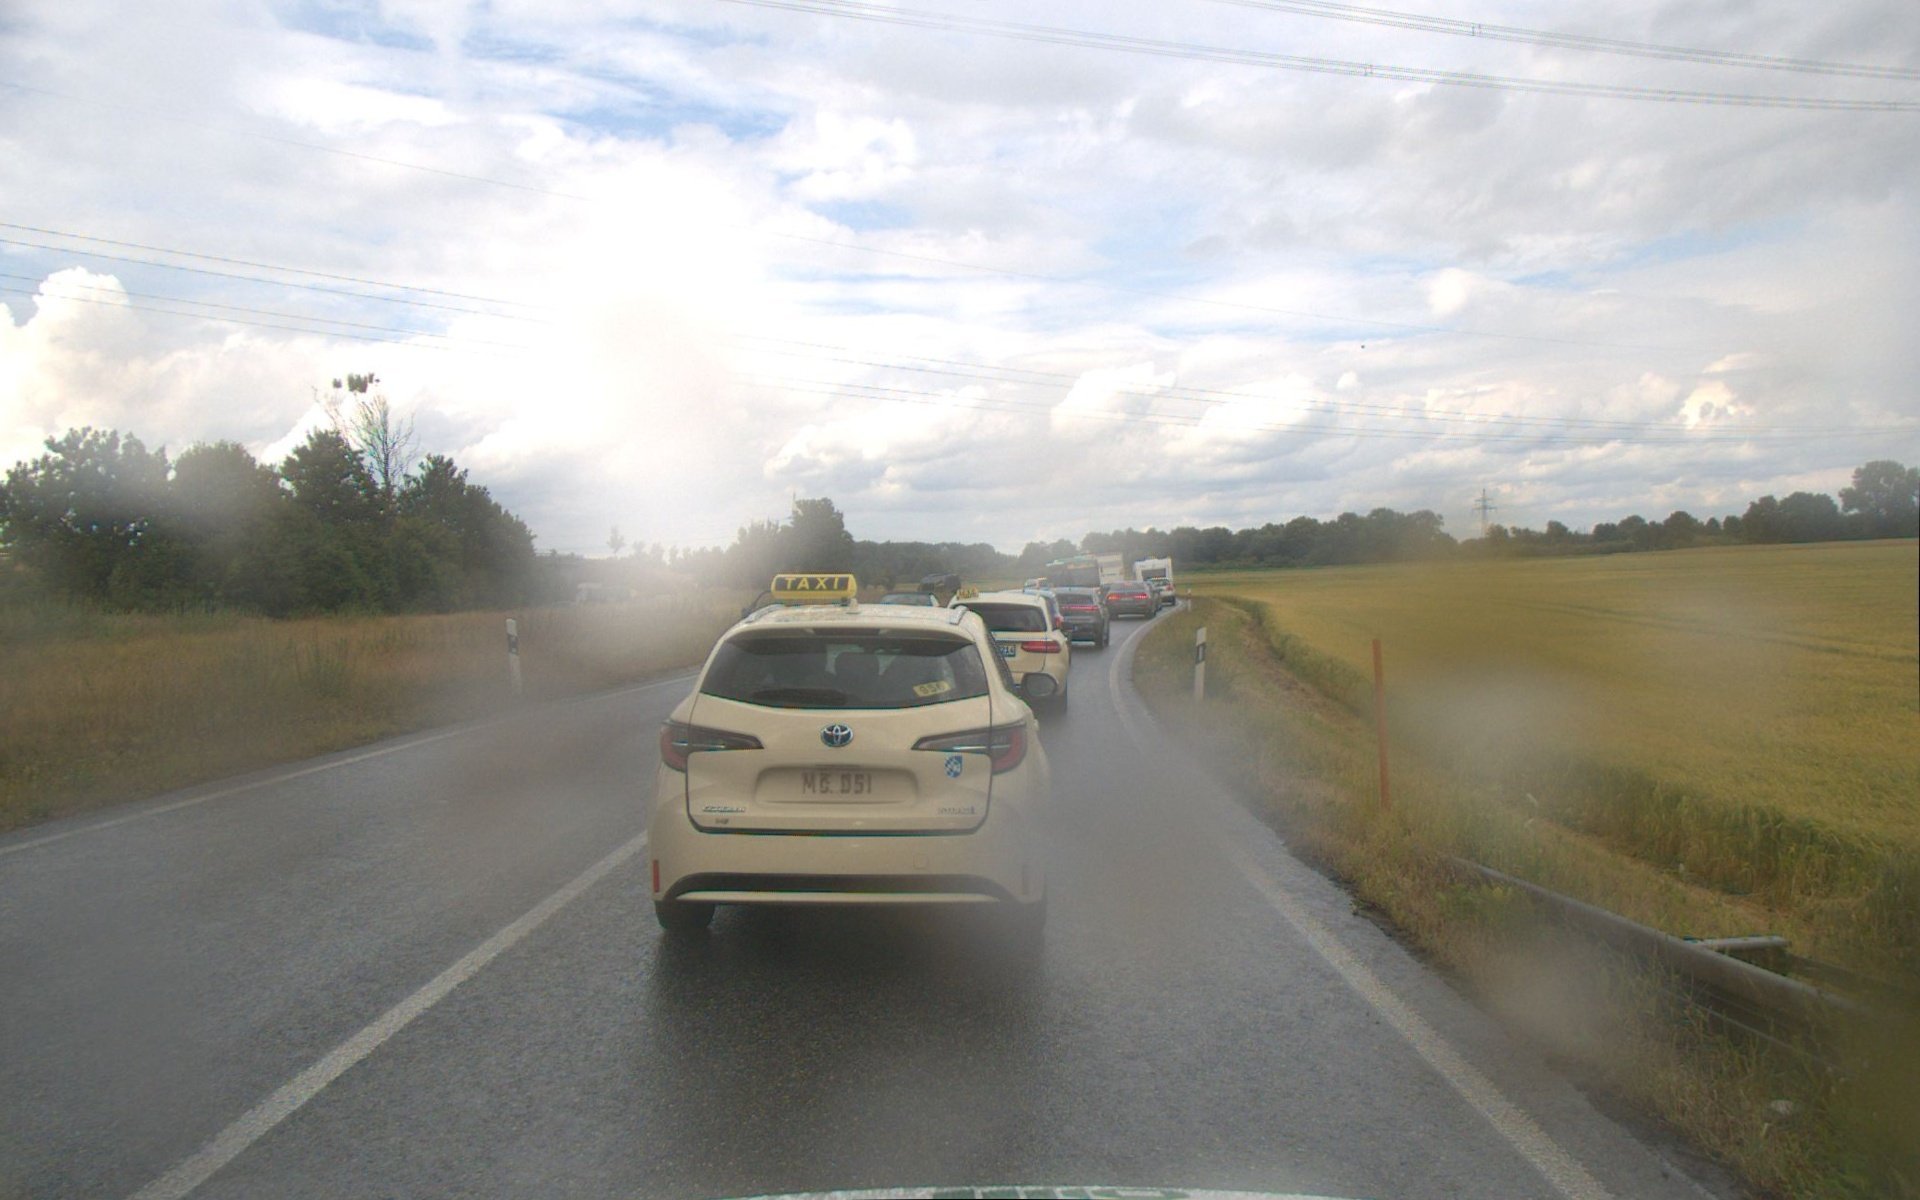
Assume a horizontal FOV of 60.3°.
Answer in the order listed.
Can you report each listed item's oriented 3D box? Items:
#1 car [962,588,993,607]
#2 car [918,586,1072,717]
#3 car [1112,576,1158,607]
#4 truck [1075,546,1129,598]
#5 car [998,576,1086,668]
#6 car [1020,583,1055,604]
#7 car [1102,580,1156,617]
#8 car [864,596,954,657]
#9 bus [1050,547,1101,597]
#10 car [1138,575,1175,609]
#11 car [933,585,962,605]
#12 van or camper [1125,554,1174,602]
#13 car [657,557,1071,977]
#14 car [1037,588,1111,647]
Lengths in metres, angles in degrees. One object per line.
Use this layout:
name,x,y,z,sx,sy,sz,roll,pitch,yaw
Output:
car,1.749,-0.247,170.757,1.814,1.891,4.062,1,-1,-21
car,0.563,0.580,21.727,1.802,1.518,4.610,0,1,4
car,8.346,-0.392,78.561,1.786,1.438,3.741,0,-1,12
truck,11.364,-2.196,133.039,3.066,3.920,7.376,1,-1,-6
car,1.661,0.421,32.605,1.579,1.688,3.740,1,-1,5
car,7.139,-0.581,152.537,1.854,1.804,4.137,1,-1,-19
car,6.911,-0.033,67.394,1.918,1.438,4.396,0,-1,9
car,-1.210,0.650,41.025,1.595,1.421,4.323,1,-1,7
bus,8.197,-1.967,118.733,2.702,3.355,12.501,0,1,0
car,10.666,-0.436,89.555,1.918,1.759,3.741,1,-1,8
car,-1.298,-0.491,172.520,1.962,2.049,3.981,1,-1,-17
van or camper,11.995,-1.369,105.365,2.484,2.946,6.744,0,1,1
car,-0.303,0.656,8.226,1.579,1.589,3.739,1,-1,2
car,2.967,0.444,42.387,1.578,1.438,3.741,0,-1,9
